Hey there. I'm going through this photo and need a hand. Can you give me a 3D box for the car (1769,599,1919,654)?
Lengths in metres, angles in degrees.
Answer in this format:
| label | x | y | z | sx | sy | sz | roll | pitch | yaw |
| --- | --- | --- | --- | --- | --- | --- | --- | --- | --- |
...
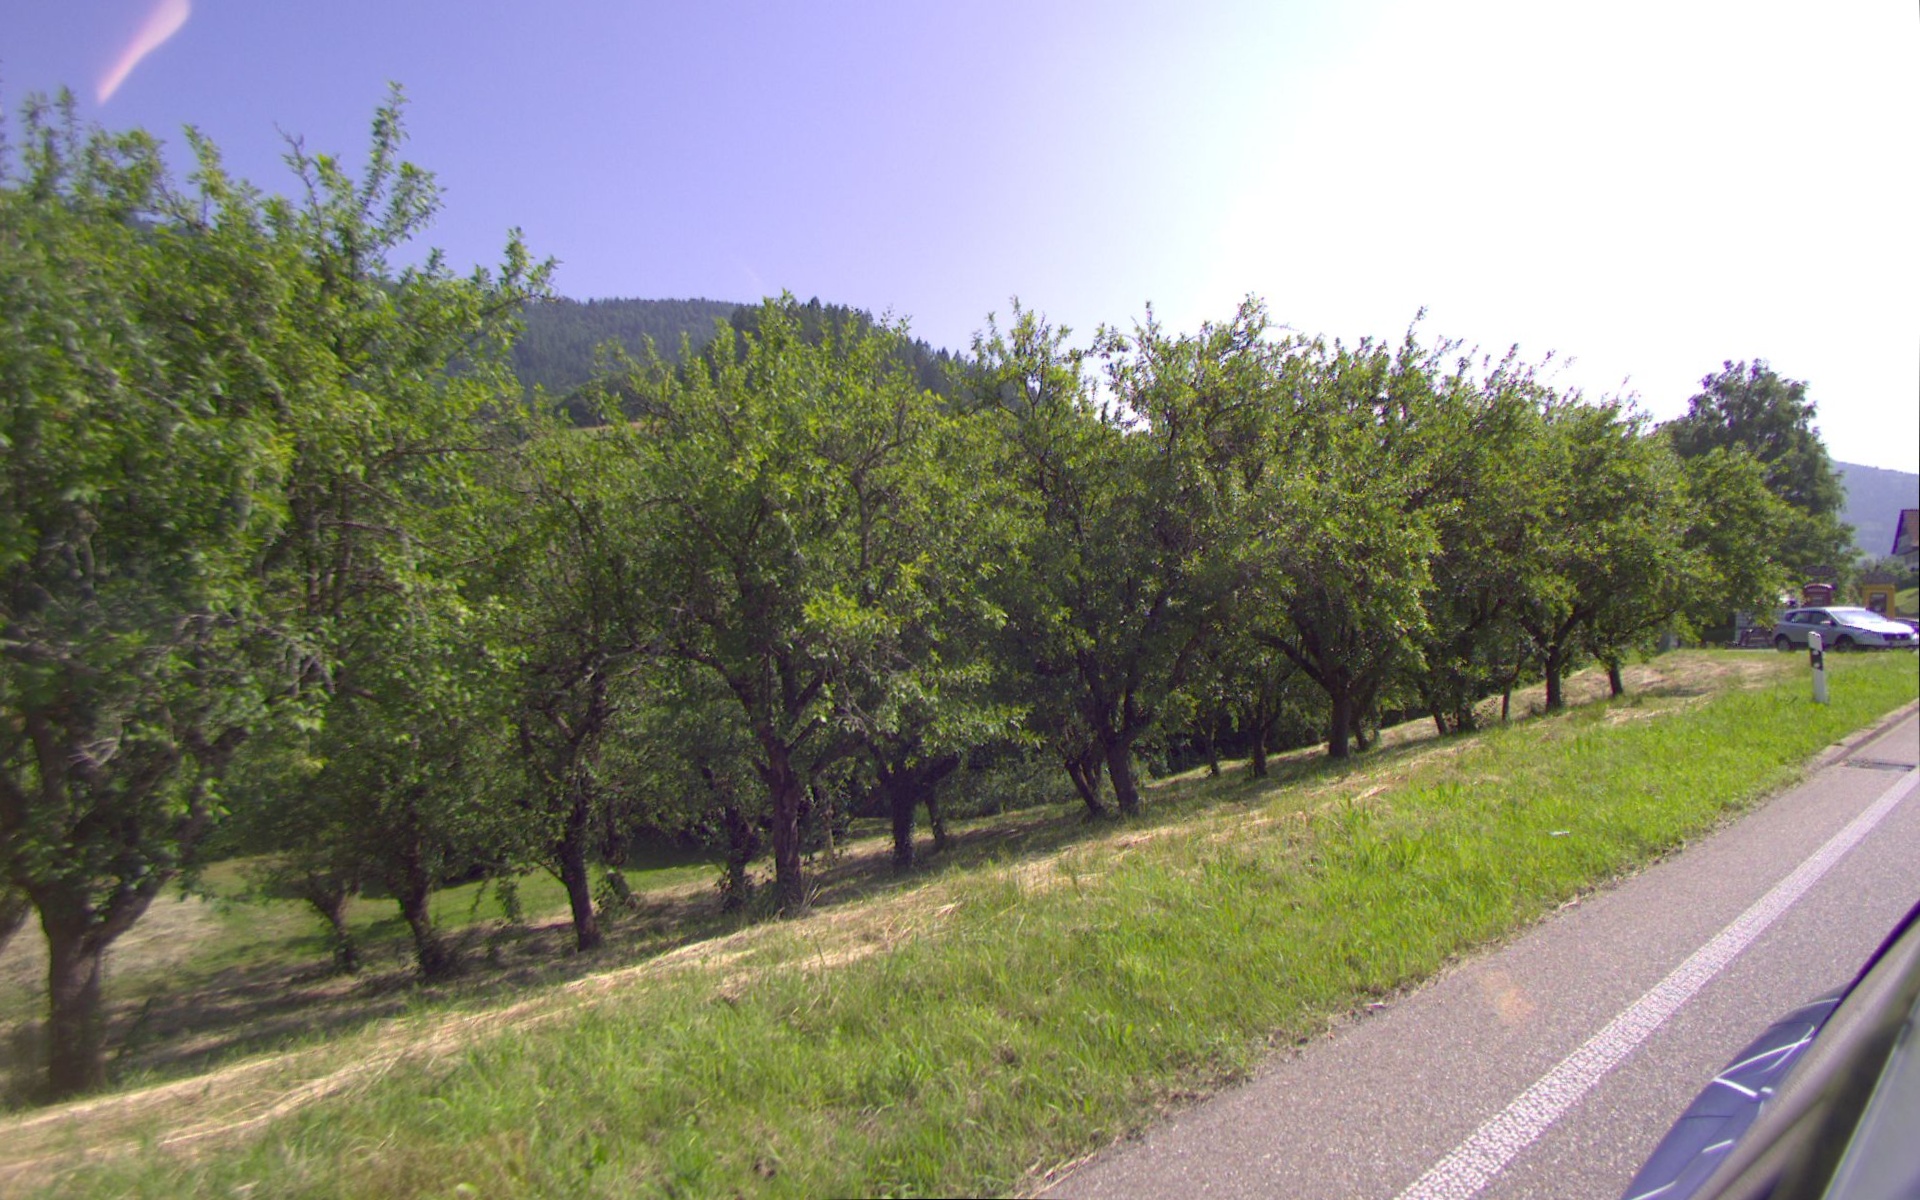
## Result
| label | x | y | z | sx | sy | sz | roll | pitch | yaw |
| --- | --- | --- | --- | --- | --- | --- | --- | --- | --- |
| car | 27.983 | 0.821 | 31.676 | 1.871 | 1.591 | 4.455 | -1 | -2 | 4 |
